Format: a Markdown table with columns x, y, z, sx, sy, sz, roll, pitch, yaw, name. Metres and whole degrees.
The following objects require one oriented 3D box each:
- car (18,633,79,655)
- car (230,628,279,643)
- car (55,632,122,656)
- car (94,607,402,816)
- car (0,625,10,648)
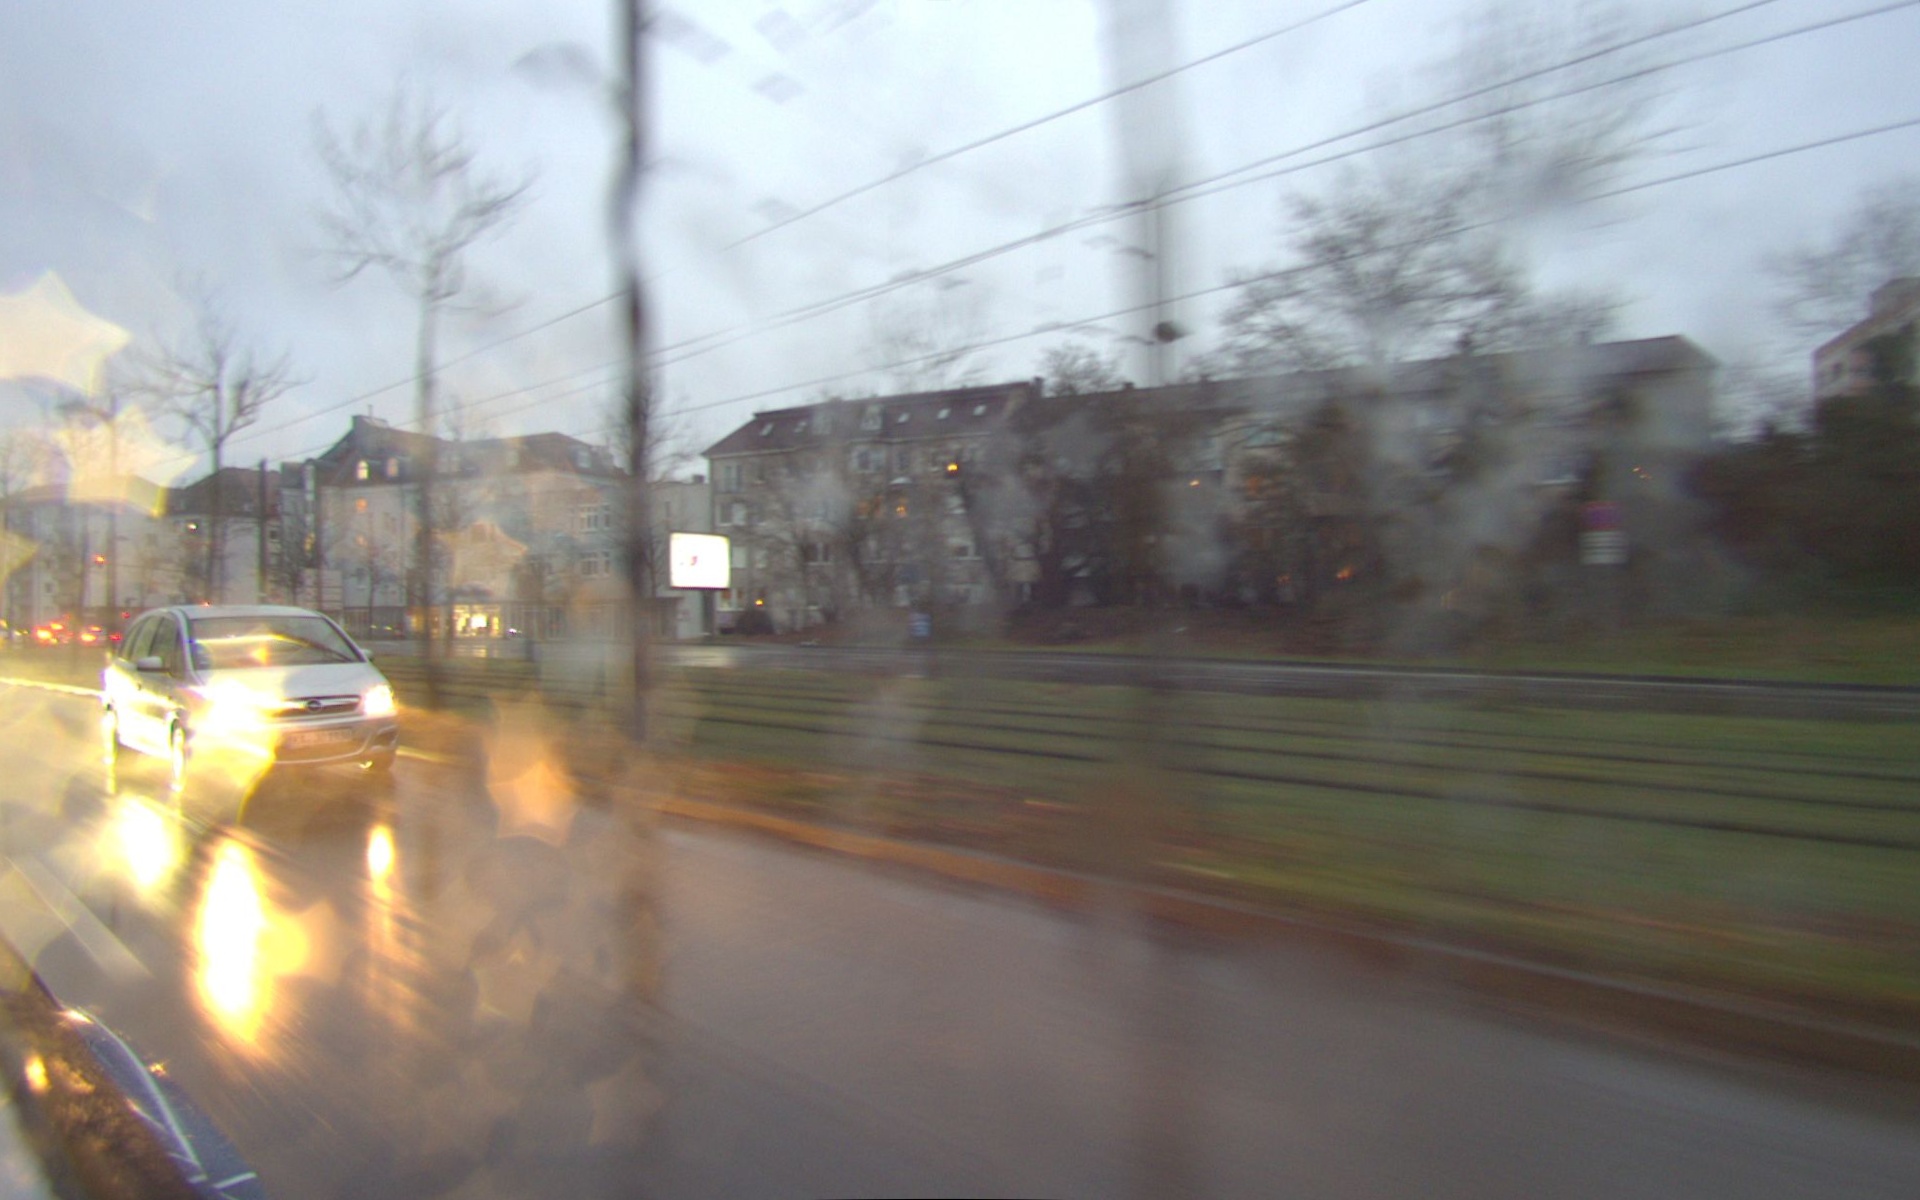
| x | y | z | sx | sy | sz | roll | pitch | yaw | name |
| --- | --- | --- | --- | --- | --- | --- | --- | --- | --- |
| -58.483 | 2.819 | 64.931 | 4.275 | 1.365 | 1.877 | -2 | -2 | 32 | car |
| -74.171 | 3.696 | 106.375 | 1.770 | 1.487 | 3.861 | -2 | -2 | 29 | car |
| -53.092 | 2.661 | 61.633 | 4.274 | 1.365 | 1.878 | -2 | -2 | 31 | car |
| -6.909 | 0.894 | 9.663 | 3.922 | 1.587 | 1.647 | -2 | -1 | 43 | car |
| -79.629 | 2.980 | 81.223 | 2.324 | 1.871 | 4.614 | -2 | -2 | 38 | car |
